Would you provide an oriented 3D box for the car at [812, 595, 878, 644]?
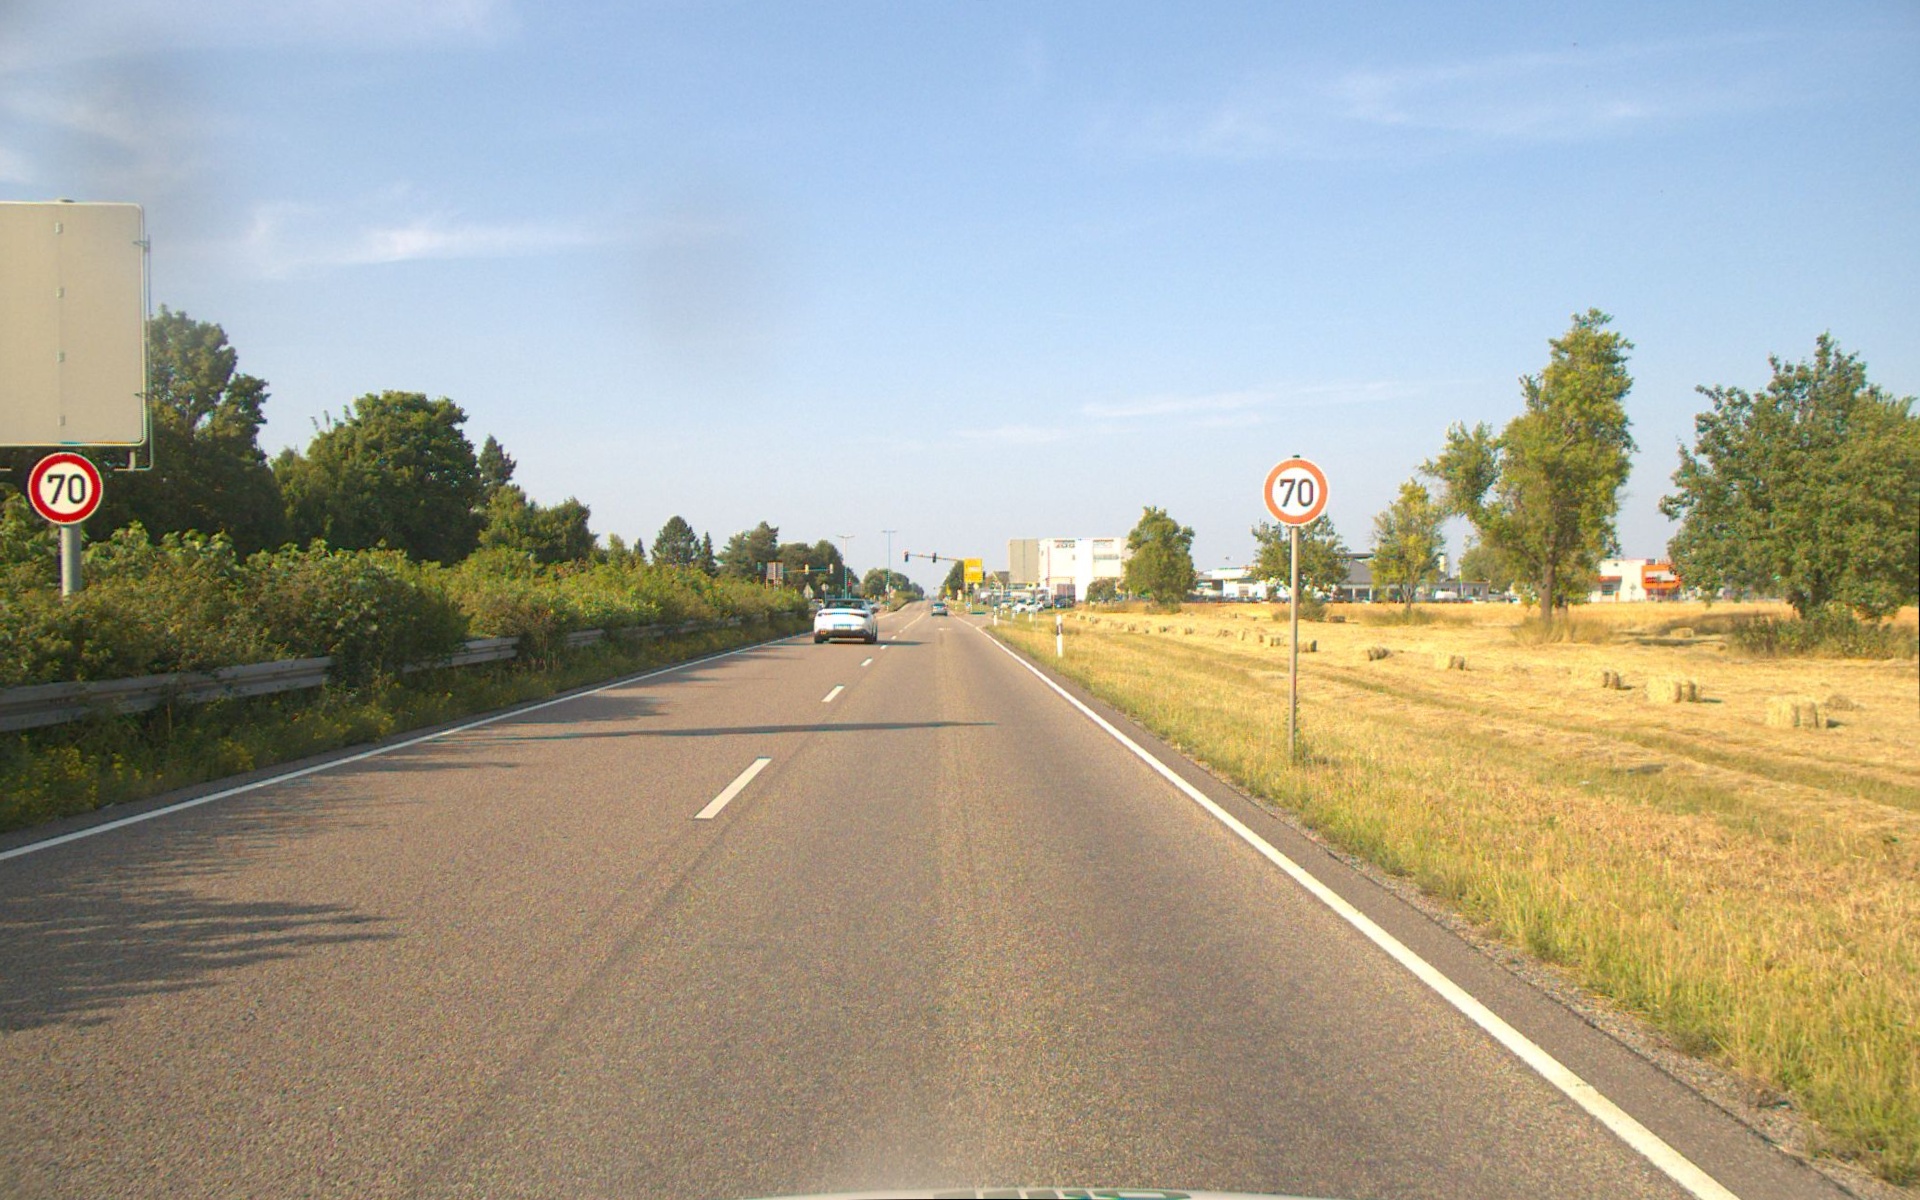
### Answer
[{"bbox_3d":[-3.584,0.595,52.065,1.871,1.447,3.999,1,0,-2],"label":"car"}]

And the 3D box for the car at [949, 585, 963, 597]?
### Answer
[{"bbox_3d":[-0.611,-1.405,253.144,1.952,1.787,4.000,1,0,0],"label":"car"}]

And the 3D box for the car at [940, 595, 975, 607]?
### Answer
[{"bbox_3d":[-0.269,0.150,203.793,3.929,1.432,1.942,1,0,-21],"label":"car"}]

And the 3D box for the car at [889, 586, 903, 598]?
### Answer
[{"bbox_3d":[-9.765,-1.188,253.578,1.908,1.803,4.000,1,0,0],"label":"car"}]

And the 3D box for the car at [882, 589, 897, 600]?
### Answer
[{"bbox_3d":[-10.220,-0.791,239.530,1.908,1.432,4.000,1,0,0],"label":"car"}]

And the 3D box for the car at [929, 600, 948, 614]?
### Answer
[{"bbox_3d":[-2.357,0.727,177.689,1.953,1.512,3.999,1,0,-2],"label":"car"}]

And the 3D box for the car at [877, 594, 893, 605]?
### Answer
[{"bbox_3d":[-9.698,-0.052,214.754,1.908,1.432,4.000,1,0,0],"label":"car"}]
